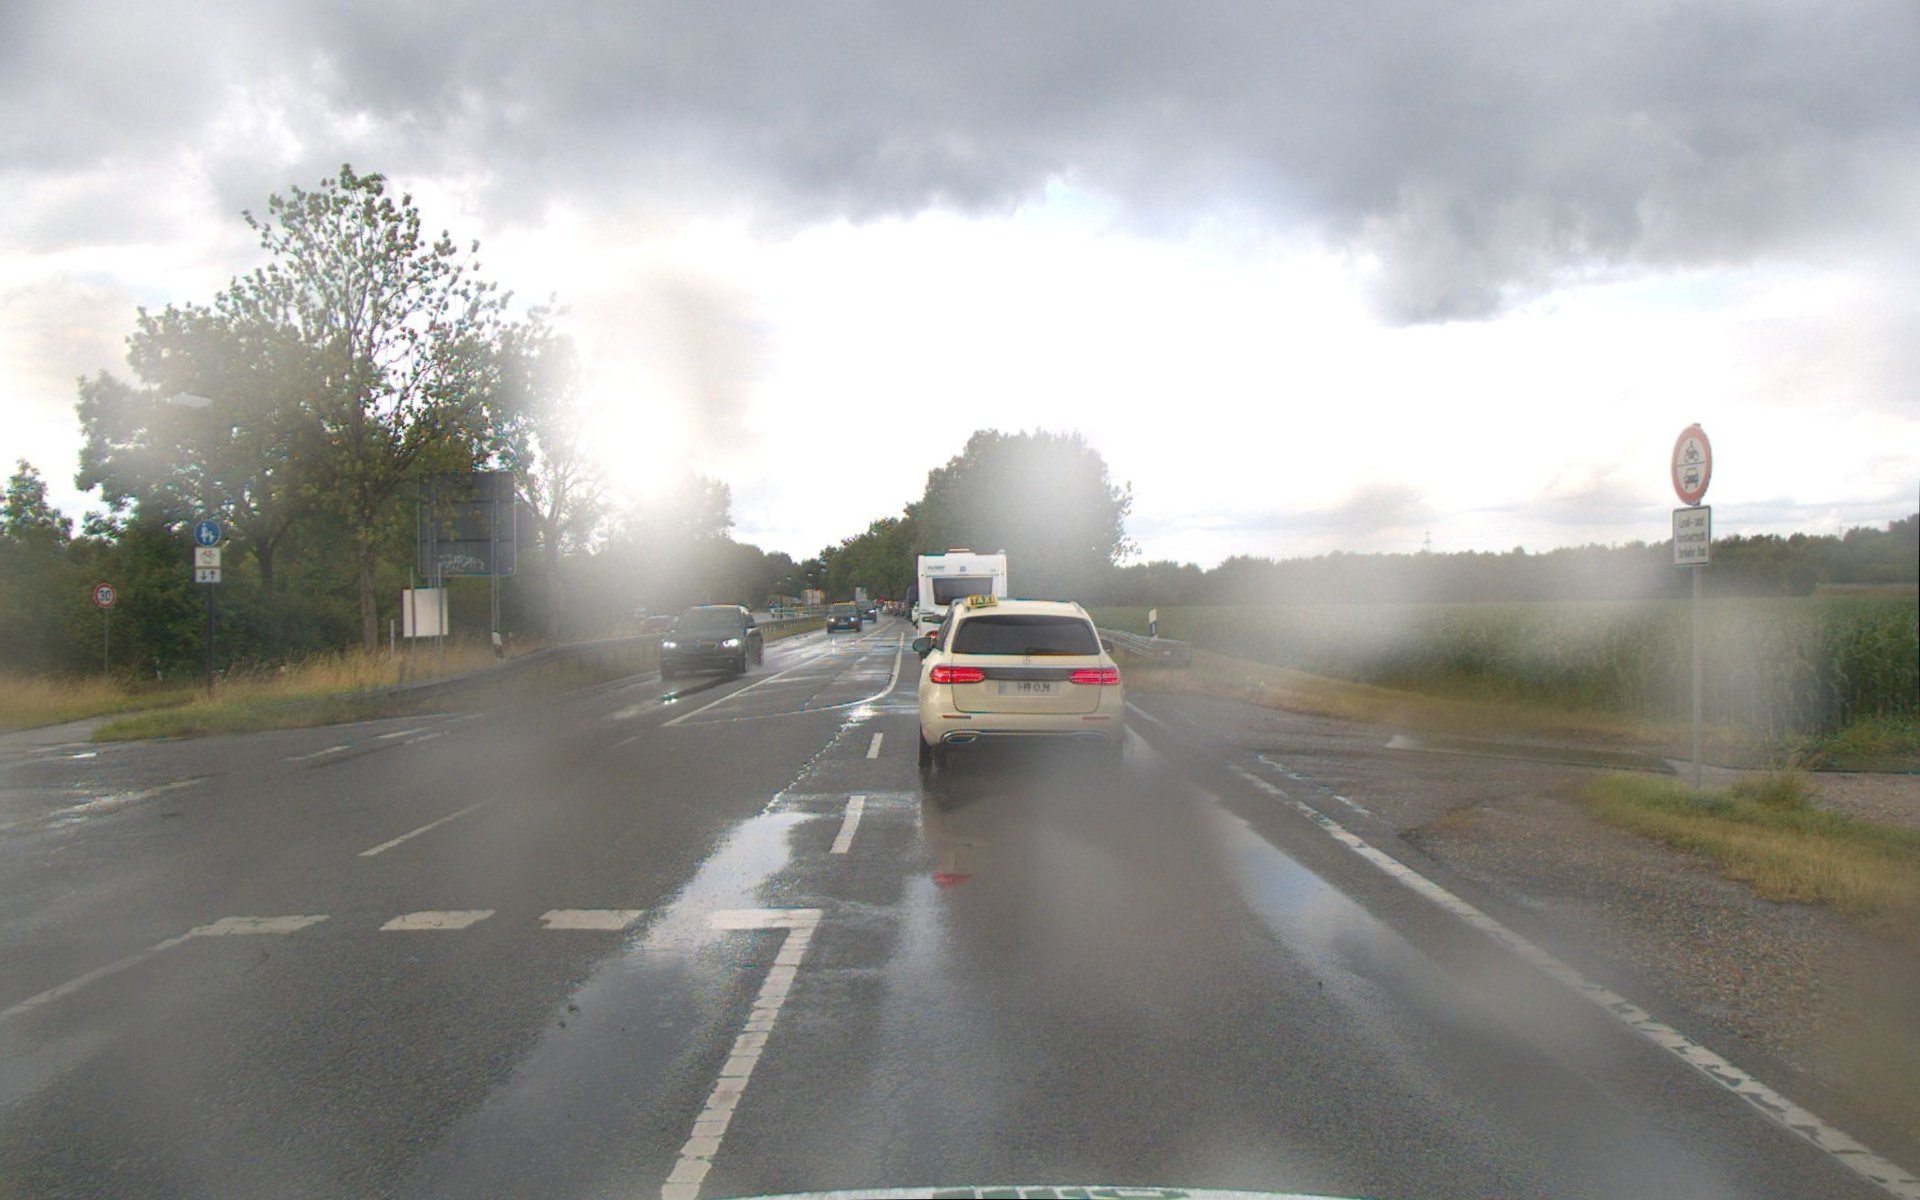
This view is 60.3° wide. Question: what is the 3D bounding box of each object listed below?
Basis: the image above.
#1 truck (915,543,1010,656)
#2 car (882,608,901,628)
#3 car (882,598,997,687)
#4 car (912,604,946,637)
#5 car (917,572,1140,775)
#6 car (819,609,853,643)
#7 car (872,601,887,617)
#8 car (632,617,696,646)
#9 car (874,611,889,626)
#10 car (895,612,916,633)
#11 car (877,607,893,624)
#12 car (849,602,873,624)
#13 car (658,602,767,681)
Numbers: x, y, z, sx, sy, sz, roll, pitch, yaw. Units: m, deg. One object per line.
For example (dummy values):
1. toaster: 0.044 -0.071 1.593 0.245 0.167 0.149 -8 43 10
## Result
1. truck: 0.023 -0.014 44.730 2.315 2.776 7.313 -1 0 -1
2. car: -7.132 1.851 172.039 1.814 2.049 3.810 -1 0 -1
3. car: -0.382 0.754 30.685 1.953 1.488 3.999 2 0 -1
4. car: -1.859 1.227 100.076 1.876 1.873 3.796 -1 0 1
5. car: 0.532 0.608 15.501 1.805 1.646 3.999 1 0 -1
6. car: -6.377 1.324 85.143 1.548 1.668 3.441 -1 0 -1
7. car: -10.117 1.156 207.763 1.858 1.928 3.840 -1 0 -4
8. car: -16.917 1.789 94.672 2.253 1.574 4.636 1 0 7
9. car: -9.438 2.223 198.656 1.714 1.691 3.669 -2 -1 -4
10. car: -4.755 1.962 145.521 1.755 1.808 3.720 -1 0 -1
11. car: -8.566 1.735 189.266 1.705 1.892 3.784 -1 0 -1
12. car: -7.211 0.931 120.884 1.575 1.518 3.784 -1 0 -1
13. car: -5.356 0.871 36.243 1.791 1.601 3.999 1 0 0
